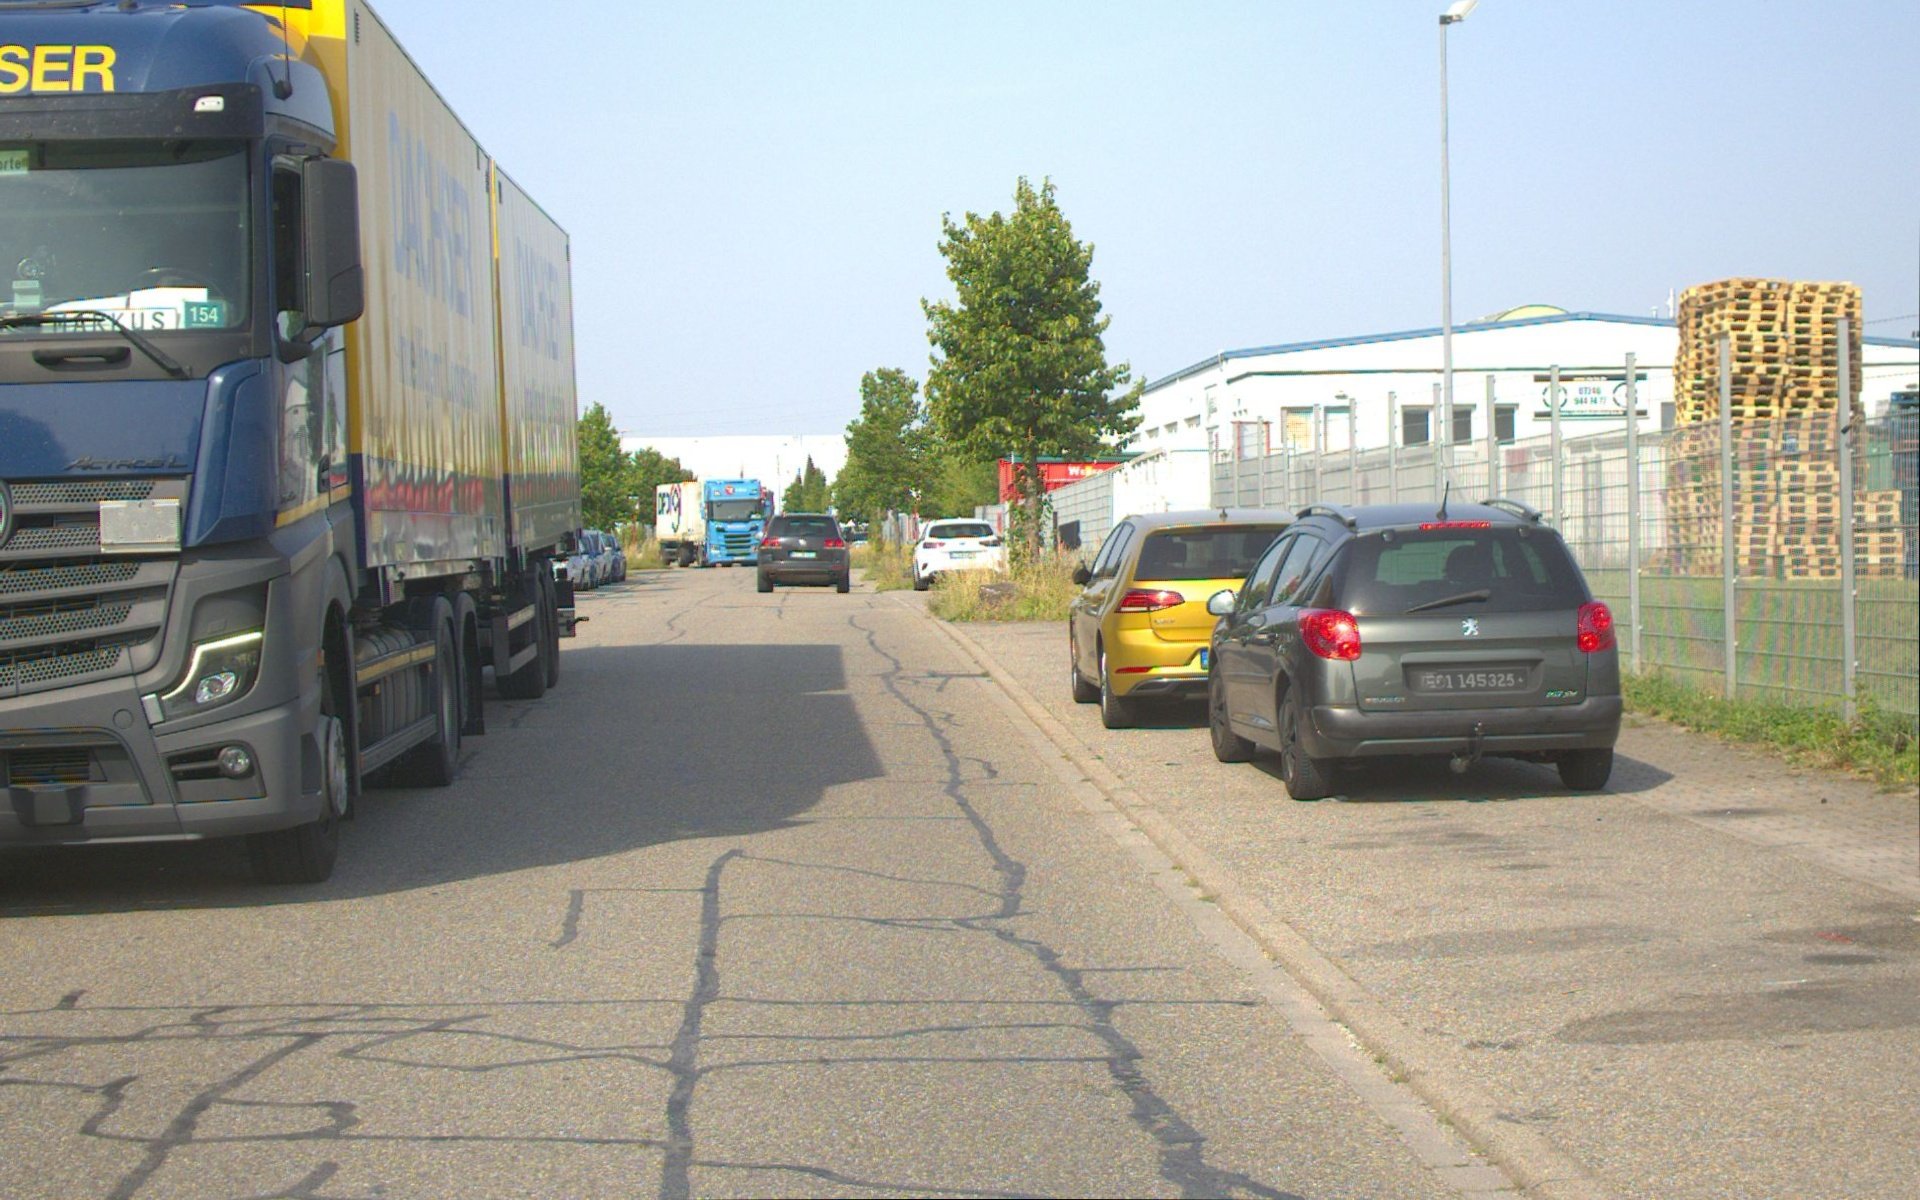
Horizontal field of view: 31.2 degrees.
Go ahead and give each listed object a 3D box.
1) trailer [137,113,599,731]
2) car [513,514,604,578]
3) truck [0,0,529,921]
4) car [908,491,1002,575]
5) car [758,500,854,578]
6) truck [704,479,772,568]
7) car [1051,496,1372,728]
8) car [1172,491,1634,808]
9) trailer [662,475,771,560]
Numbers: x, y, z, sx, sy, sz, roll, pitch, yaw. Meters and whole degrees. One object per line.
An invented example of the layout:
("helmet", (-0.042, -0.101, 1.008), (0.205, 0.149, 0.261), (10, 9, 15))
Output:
("trailer", (-4.489, -1.317, 27.755), (2.498, 4.131, 8.498), (-2, 1, -3))
("car", (-9.617, -1.310, 82.552), (1.806, 1.491, 3.936), (0, 1, -1))
("truck", (-4.027, -0.956, 18.289), (2.498, 4.131, 10.381), (-2, 1, -3))
("car", (-0.131, -1.370, 70.245), (1.714, 1.674, 3.950), (0, 1, -3))
("car", (-3.269, -1.287, 72.406), (1.880, 1.581, 4.114), (-1, 1, -4))
("truck", (-9.640, -3.313, 149.103), (2.878, 3.748, 6.085), (0, 1, -4))
("car", (1.706, 0.028, 24.618), (1.714, 1.450, 4.188), (-2, 1, -3))
("car", (2.332, 0.201, 19.090), (1.714, 1.510, 4.005), (-2, 1, -4))
("trailer", (-11.238, -3.745, 157.633), (2.878, 3.748, 12.083), (0, 1, -14))
